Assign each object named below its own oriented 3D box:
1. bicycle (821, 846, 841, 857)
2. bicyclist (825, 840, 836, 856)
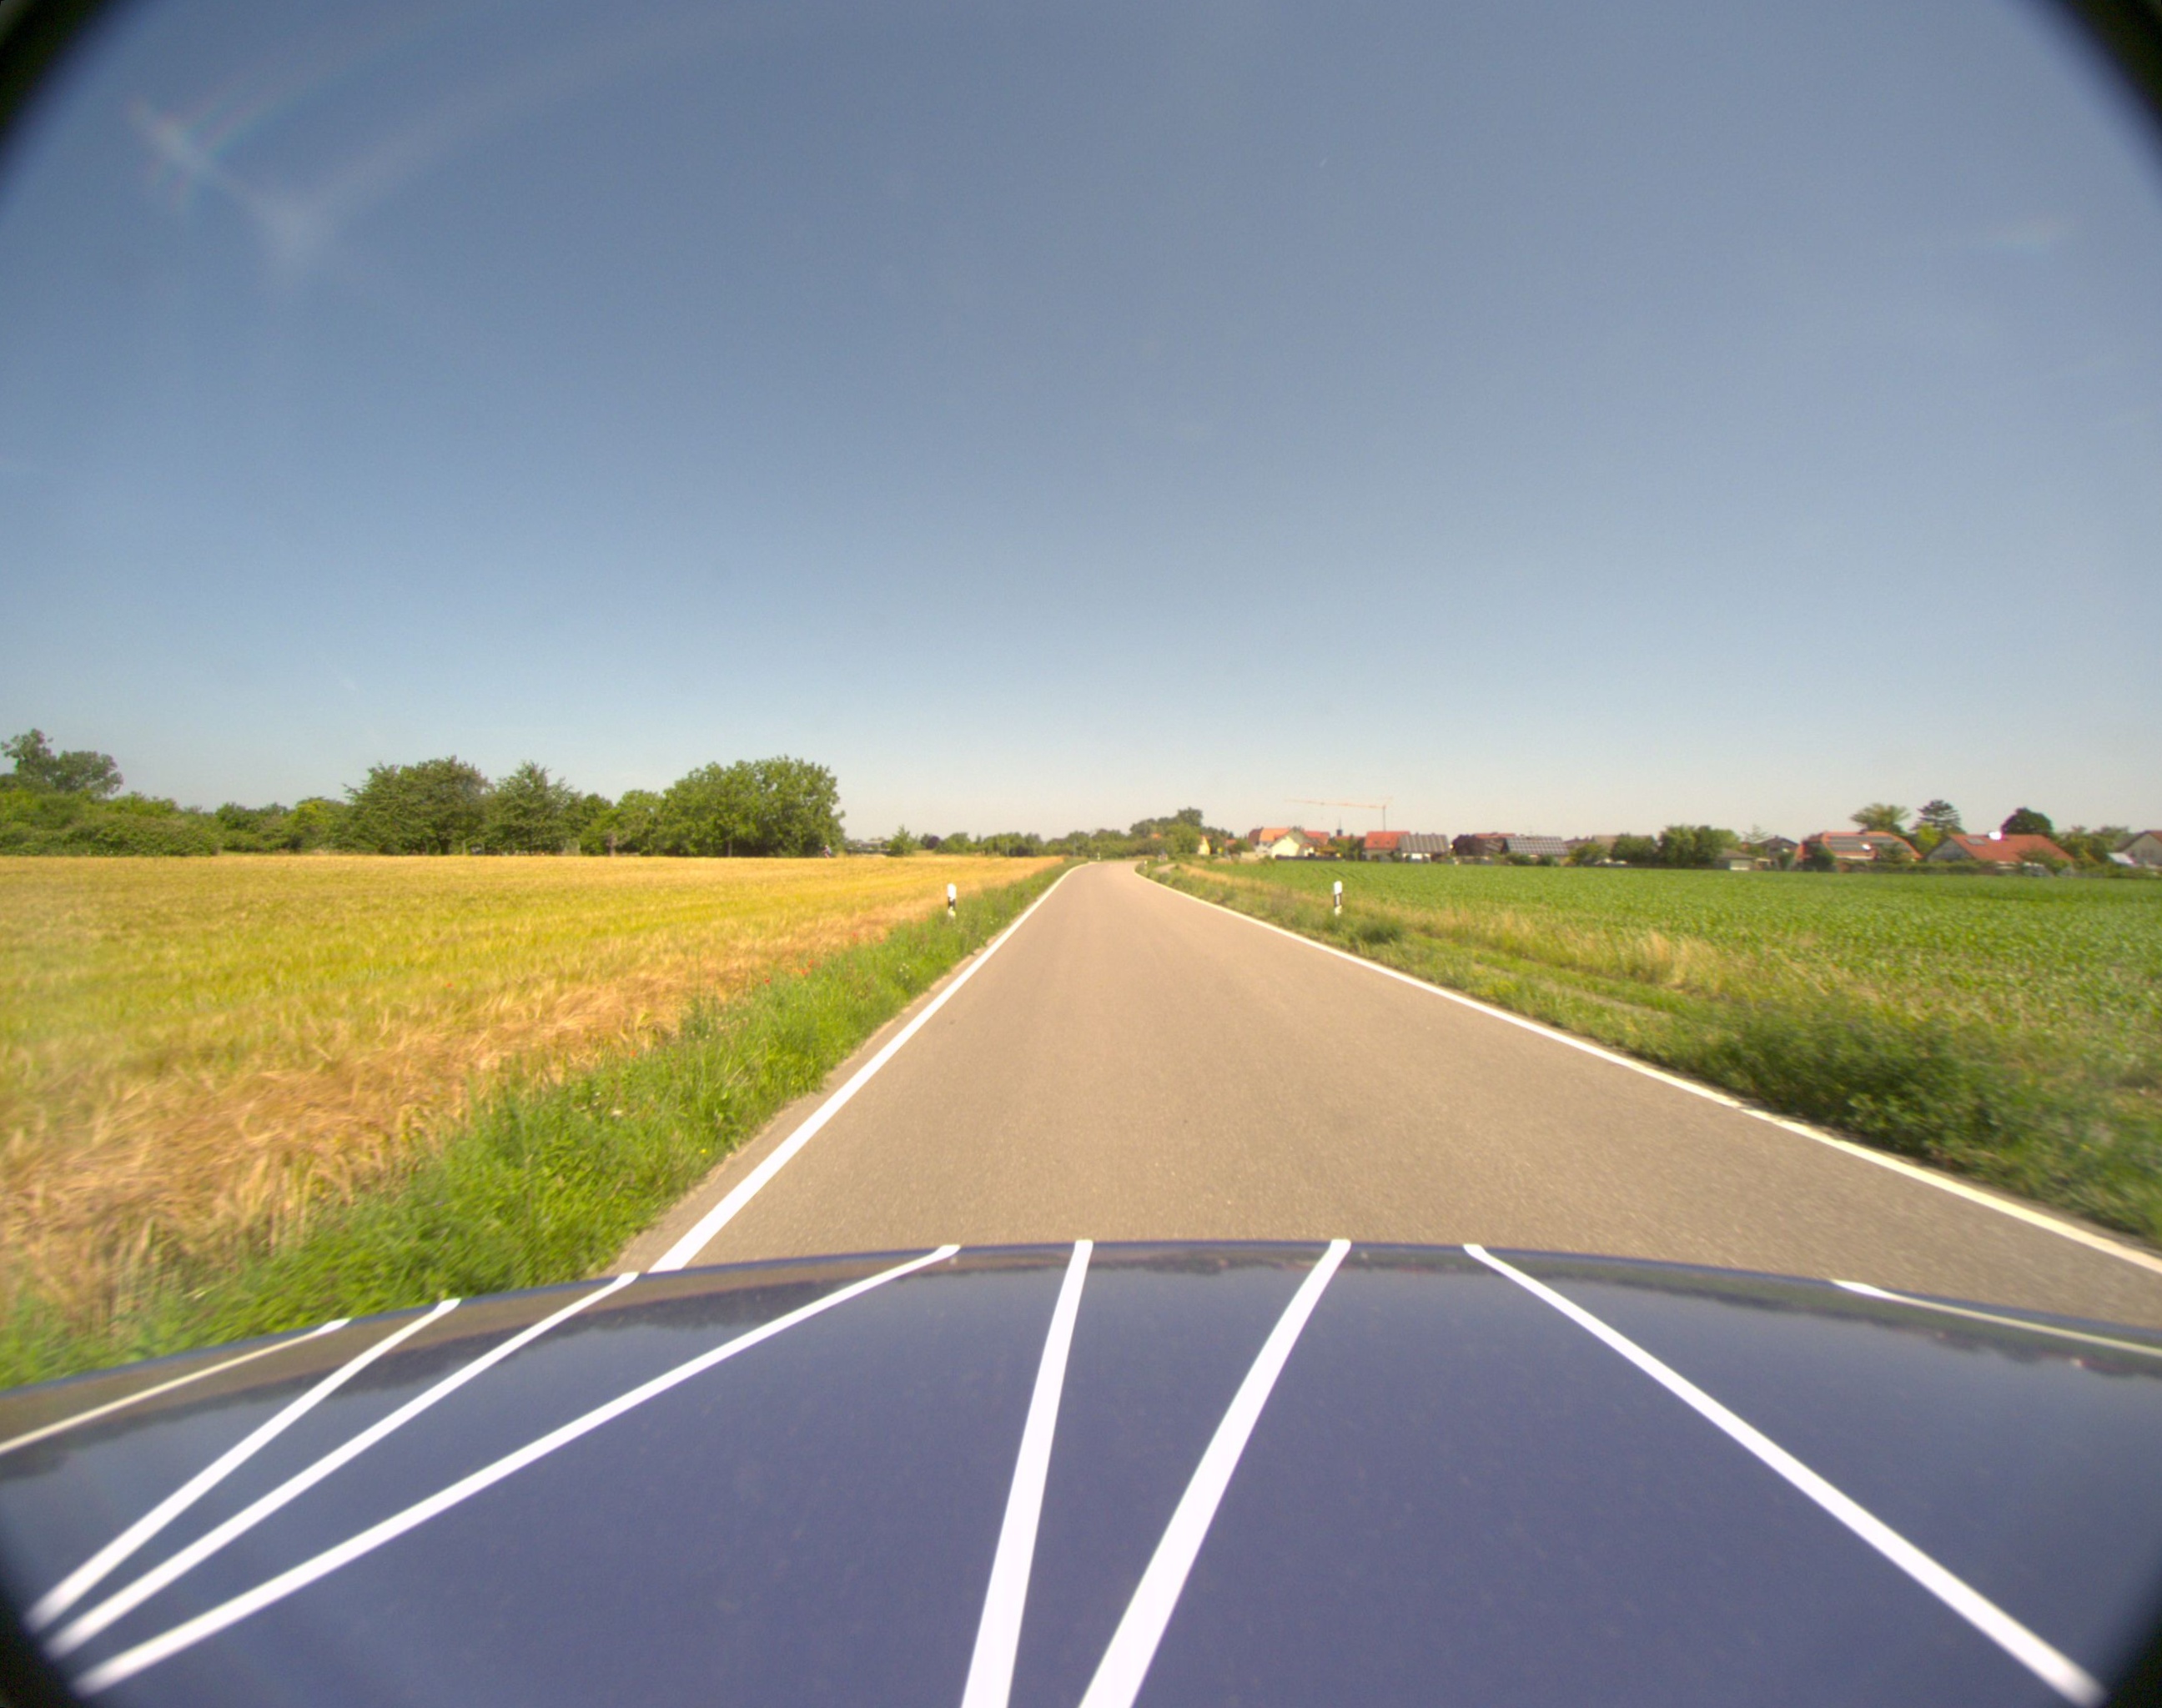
[{"bbox_3d":[-24.596,-0.233,74.707,1.773,1.109,0.520,0,1,-43],"label":"bicycle"},{"bbox_3d":[-24.612,-0.599,74.679,0.737,1.565,0.672,0,2,-43],"label":"bicyclist"}]
